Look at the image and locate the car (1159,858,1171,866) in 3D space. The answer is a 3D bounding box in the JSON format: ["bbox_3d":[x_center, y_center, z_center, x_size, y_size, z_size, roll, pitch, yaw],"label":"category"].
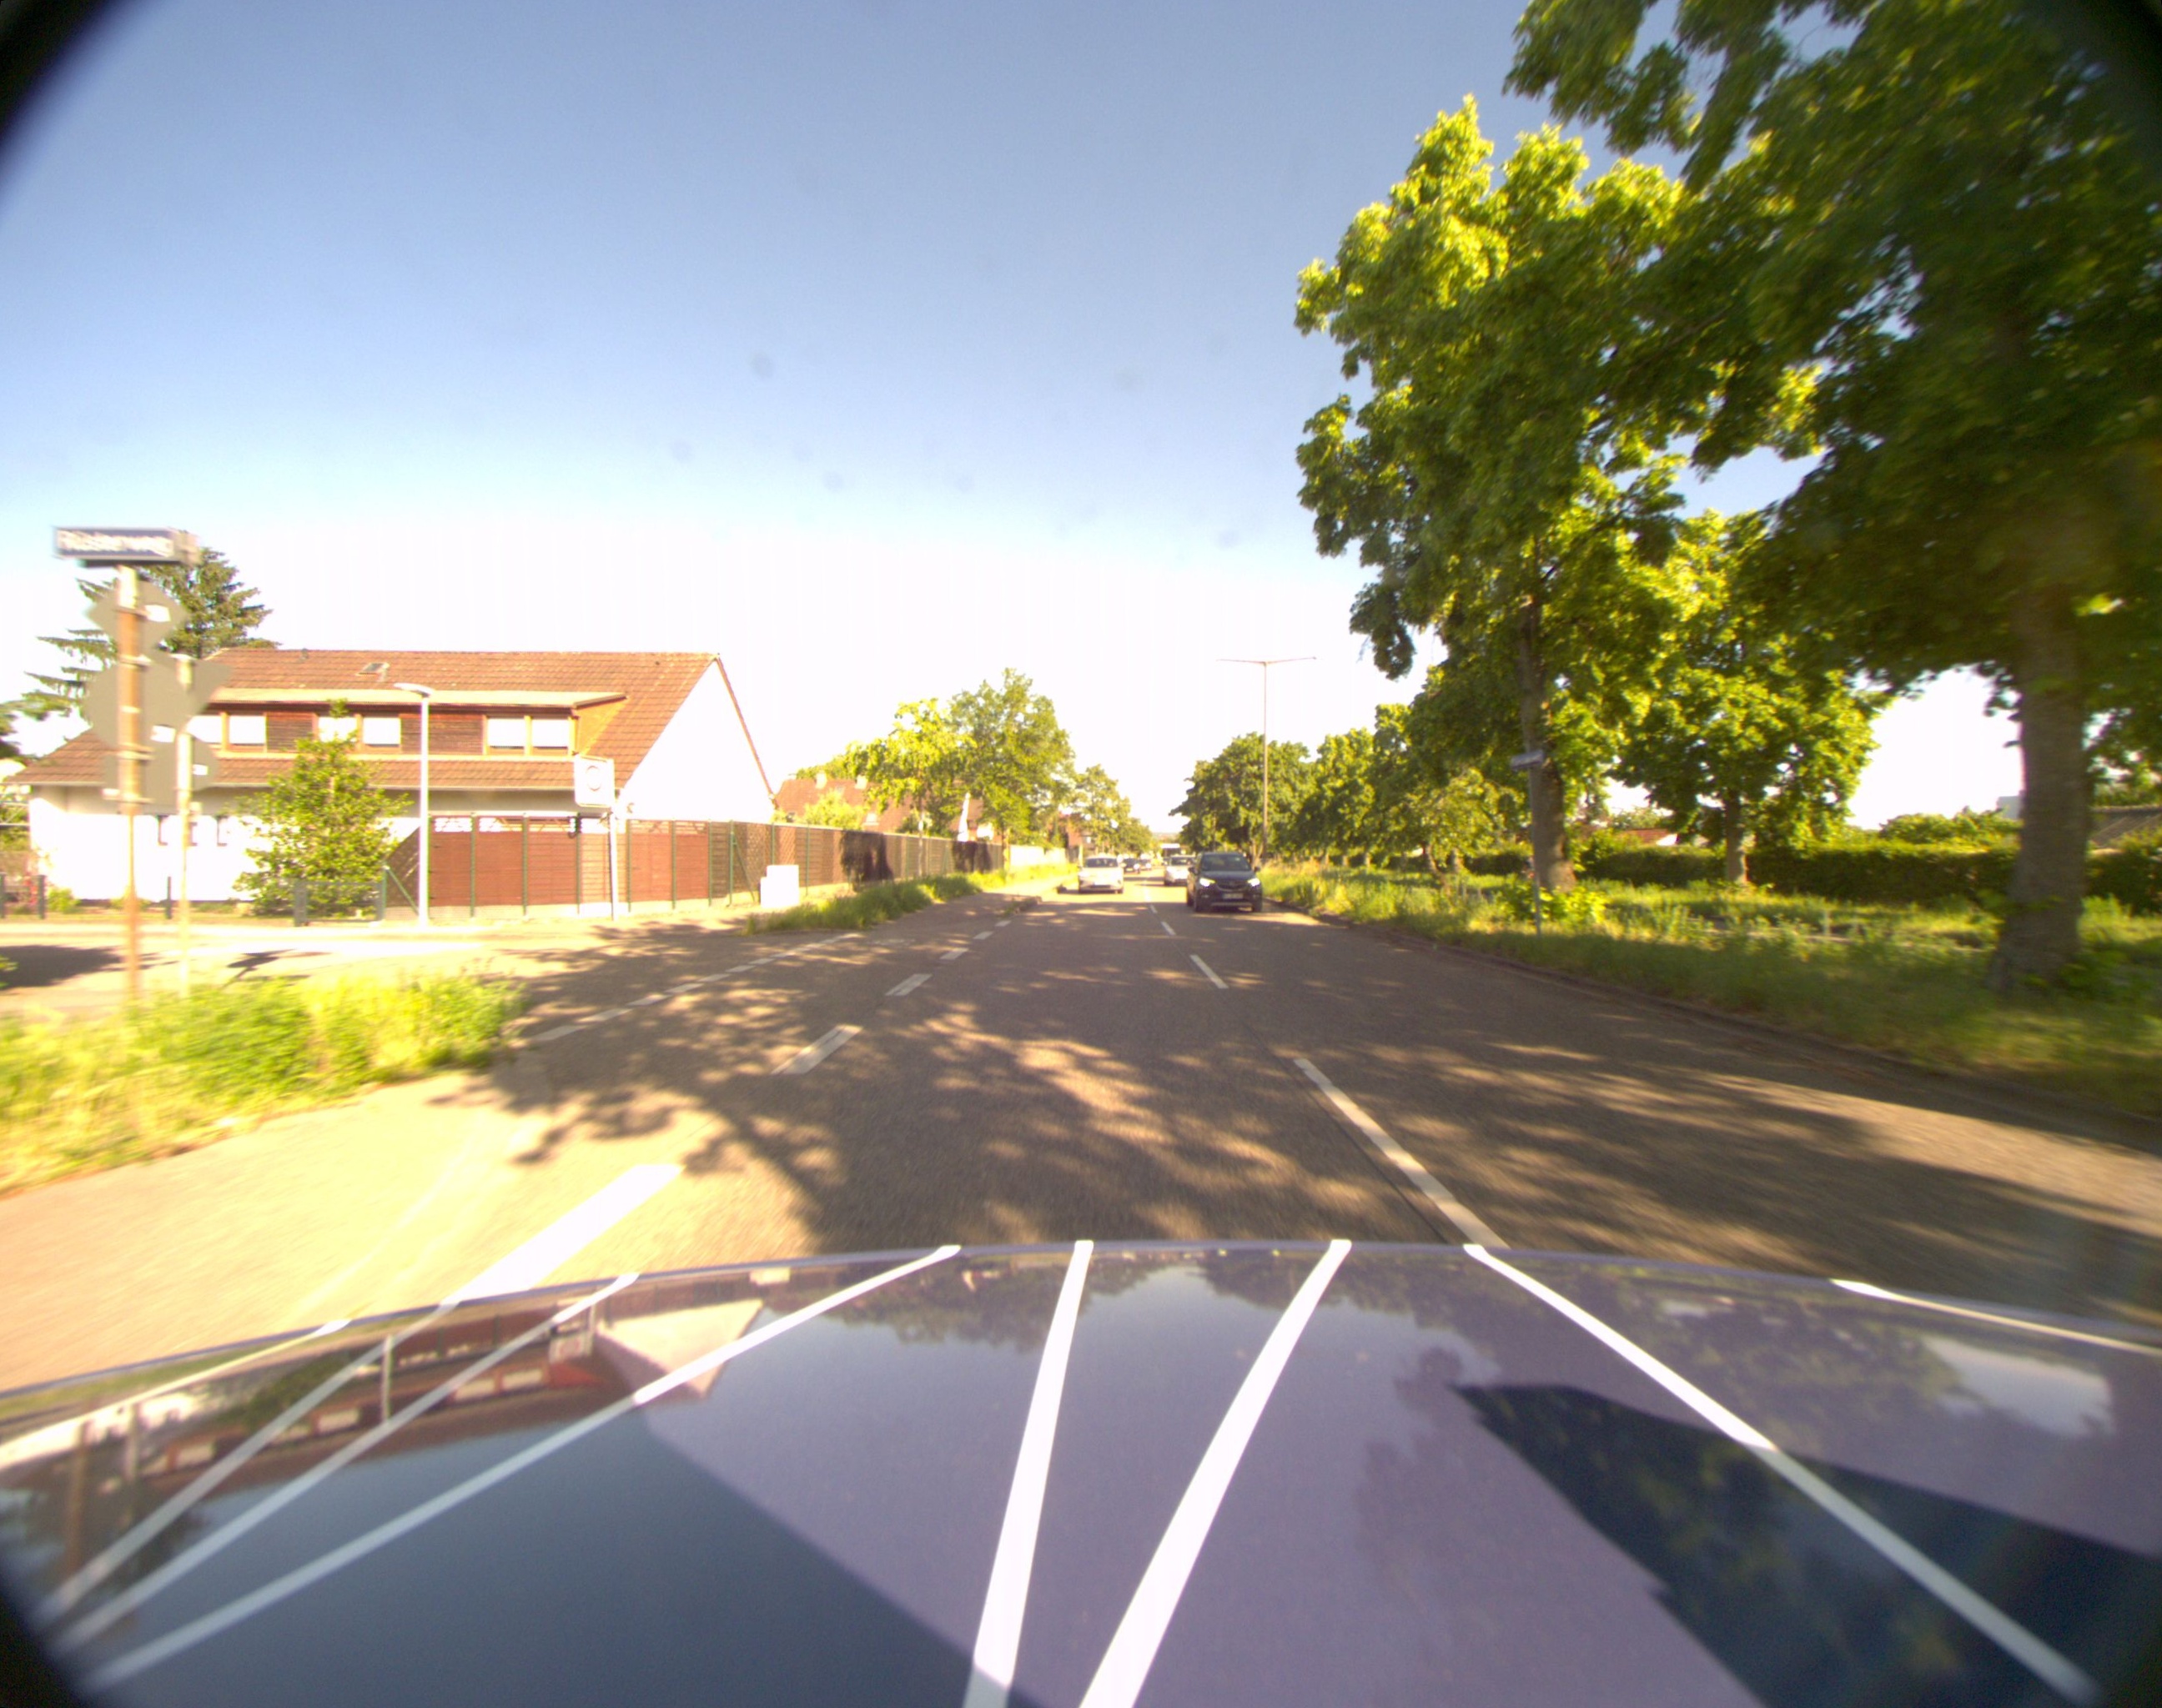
[{"bbox_3d":[17.378,1.661,157.387,1.998,1.674,4.000,0,0,2],"label":"car"}]

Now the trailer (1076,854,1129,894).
[{"bbox_3d":[0.979,0.808,32.563,1.896,1.585,4.002,-1,0,6],"label":"trailer"}]

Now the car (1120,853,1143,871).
[{"bbox_3d":[4.656,0.679,69.395,1.822,1.553,4.274,0,1,8],"label":"car"}]

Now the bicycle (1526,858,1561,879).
[{"bbox_3d":[22.275,0.673,36.637,0.691,0.990,1.842,0,0,4],"label":"bicycle"}]

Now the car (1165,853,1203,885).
[{"bbox_3d":[5.241,0.715,39.053,1.822,1.553,4.648,0,0,7],"label":"car"}]

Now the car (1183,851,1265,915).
[{"bbox_3d":[3.973,0.733,21.816,1.810,1.605,4.515,0,1,4],"label":"car"}]

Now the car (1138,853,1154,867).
[{"bbox_3d":[7.570,0.706,88.318,1.822,1.587,4.274,-1,0,6],"label":"car"}]

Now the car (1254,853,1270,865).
[{"bbox_3d":[26.328,0.759,110.563,1.942,1.647,4.002,-2,0,8],"label":"car"}]

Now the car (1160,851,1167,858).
[{"bbox_3d":[25.569,0.079,235.882,1.998,2.069,4.000,-2,0,2],"label":"car"}]

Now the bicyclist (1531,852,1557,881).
[{"bbox_3d":[22.275,0.587,36.594,0.691,1.412,1.000,0,1,4],"label":"bicyclist"}]
